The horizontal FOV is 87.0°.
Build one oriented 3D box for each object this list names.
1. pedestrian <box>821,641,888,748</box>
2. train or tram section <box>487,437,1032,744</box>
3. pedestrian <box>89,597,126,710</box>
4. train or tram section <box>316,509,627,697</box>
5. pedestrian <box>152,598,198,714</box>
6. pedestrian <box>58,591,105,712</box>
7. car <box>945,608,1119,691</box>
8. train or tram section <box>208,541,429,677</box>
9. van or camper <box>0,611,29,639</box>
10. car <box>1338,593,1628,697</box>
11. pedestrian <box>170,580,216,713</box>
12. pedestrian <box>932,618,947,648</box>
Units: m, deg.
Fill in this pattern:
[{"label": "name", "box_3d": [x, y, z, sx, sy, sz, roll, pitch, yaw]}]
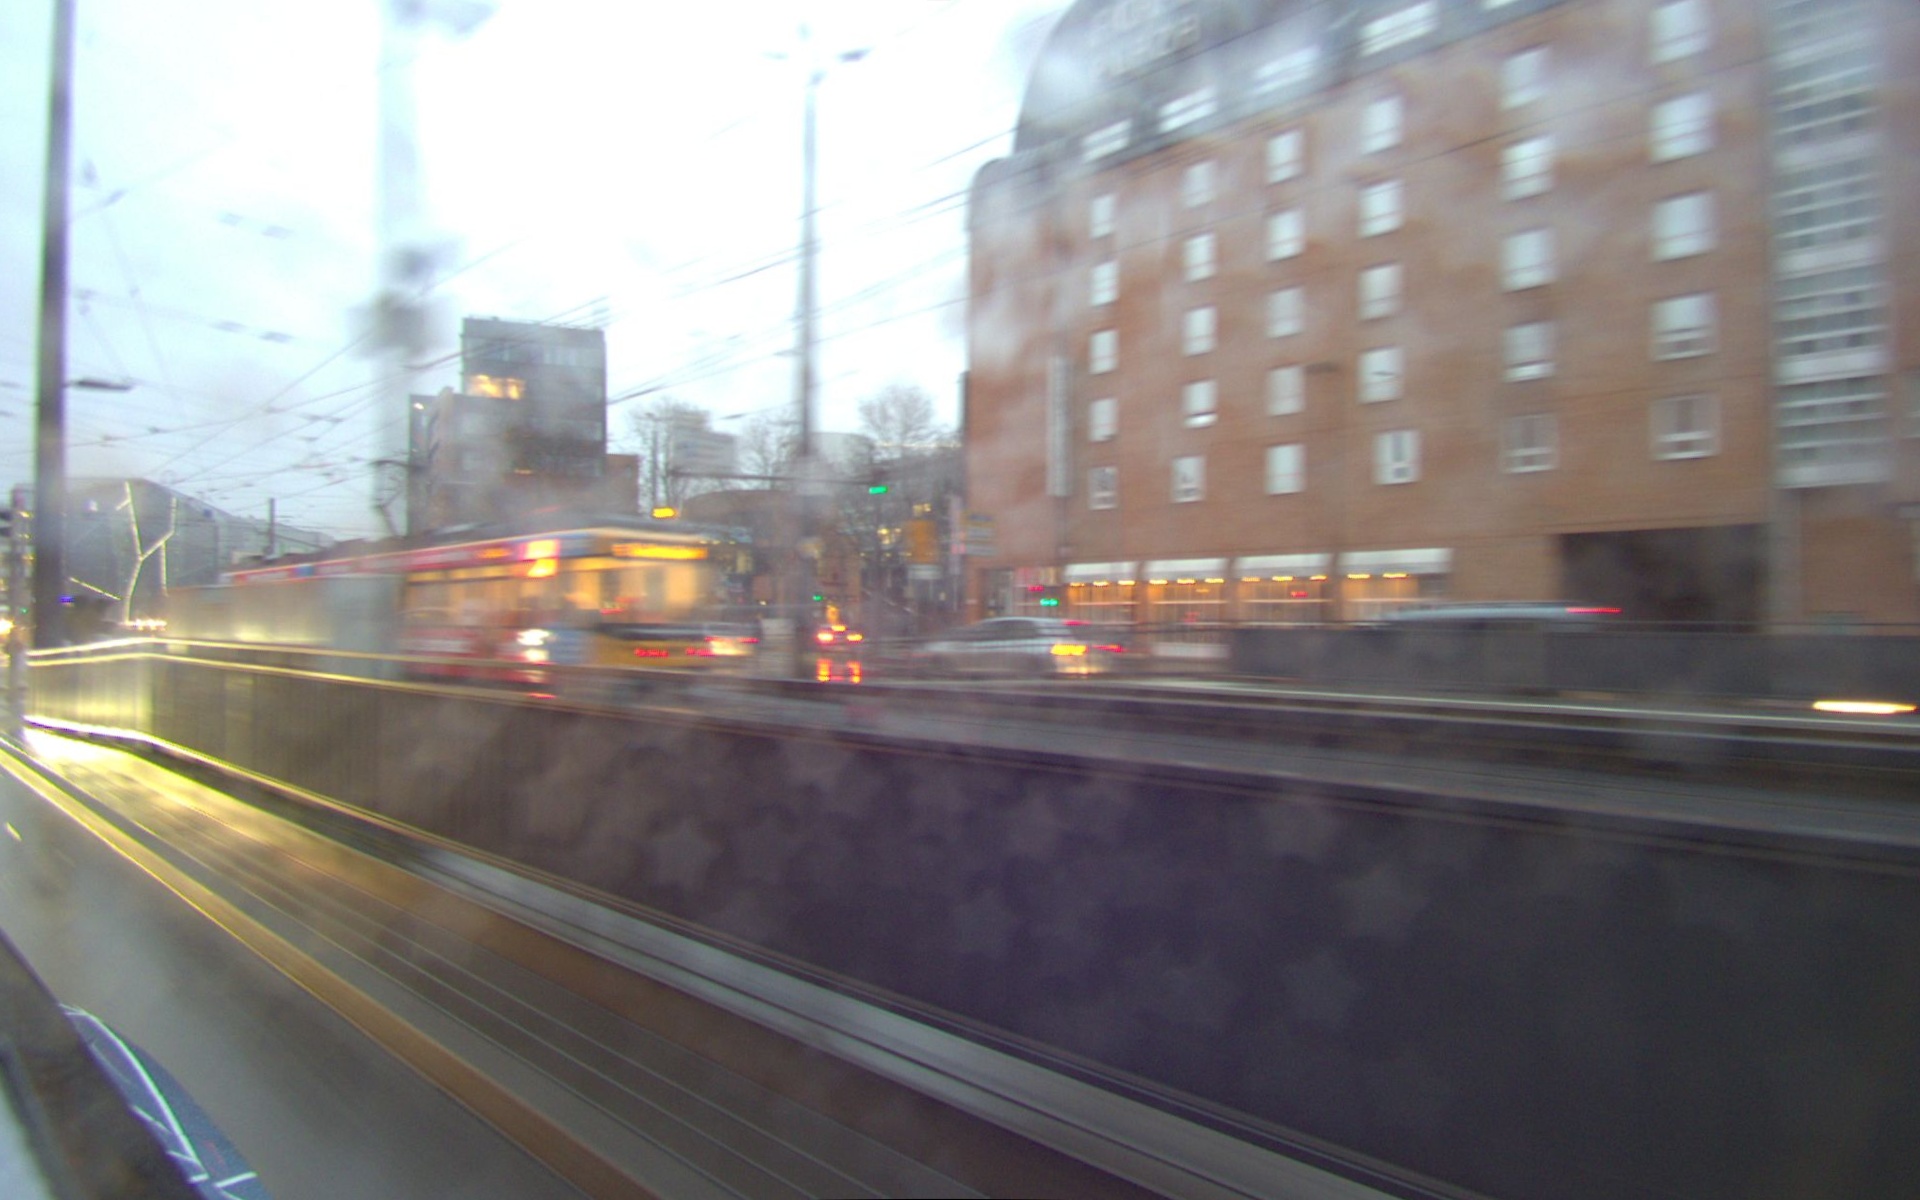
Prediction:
[{"label": "pedestrian", "box_3d": [-1.212, 1.071, 11.675, 0.490, 1.161, 0.573, -1, -1, 44]}, {"label": "train or tram section", "box_3d": [-4.024, -0.042, 16.655, 11.035, 3.595, 2.868, -1, 0, 43]}, {"label": "pedestrian", "box_3d": [-13.860, 0.864, 16.456, 0.439, 1.800, 0.356, -1, -2, 37]}, {"label": "train or tram section", "box_3d": [-12.095, 0.133, 24.199, 11.035, 3.605, 2.893, -1, 0, 43]}, {"label": "pedestrian", "box_3d": [-12.085, 0.847, 15.581, 0.473, 1.748, 0.429, -1, -2, 37]}, {"label": "pedestrian", "box_3d": [-13.782, 0.795, 15.870, 0.669, 1.859, 0.408, -1, -2, 38]}, {"label": "car", "box_3d": [1.418, 0.949, 20.630, 3.324, 1.528, 1.501, -1, -1, 42]}, {"label": "train or tram section", "box_3d": [-20.694, 0.322, 32.093, 12.255, 3.616, 2.918, -1, 0, 43]}, {"label": "van or camper", "box_3d": [-84.626, 2.243, 89.677, 2.150, 2.370, 5.665, -1, -1, -33]}, {"label": "car", "box_3d": [7.712, 0.607, 15.072, 3.545, 1.364, 1.664, -1, -1, 42]}, {"label": "pedestrian", "box_3d": [-11.655, 0.697, 15.388, 0.473, 1.982, 0.429, -1, -2, 37]}, {"label": "pedestrian", "box_3d": [-1.389, 2.272, 69.650, 0.735, 2.029, 0.721, 2, -2, -41]}]
